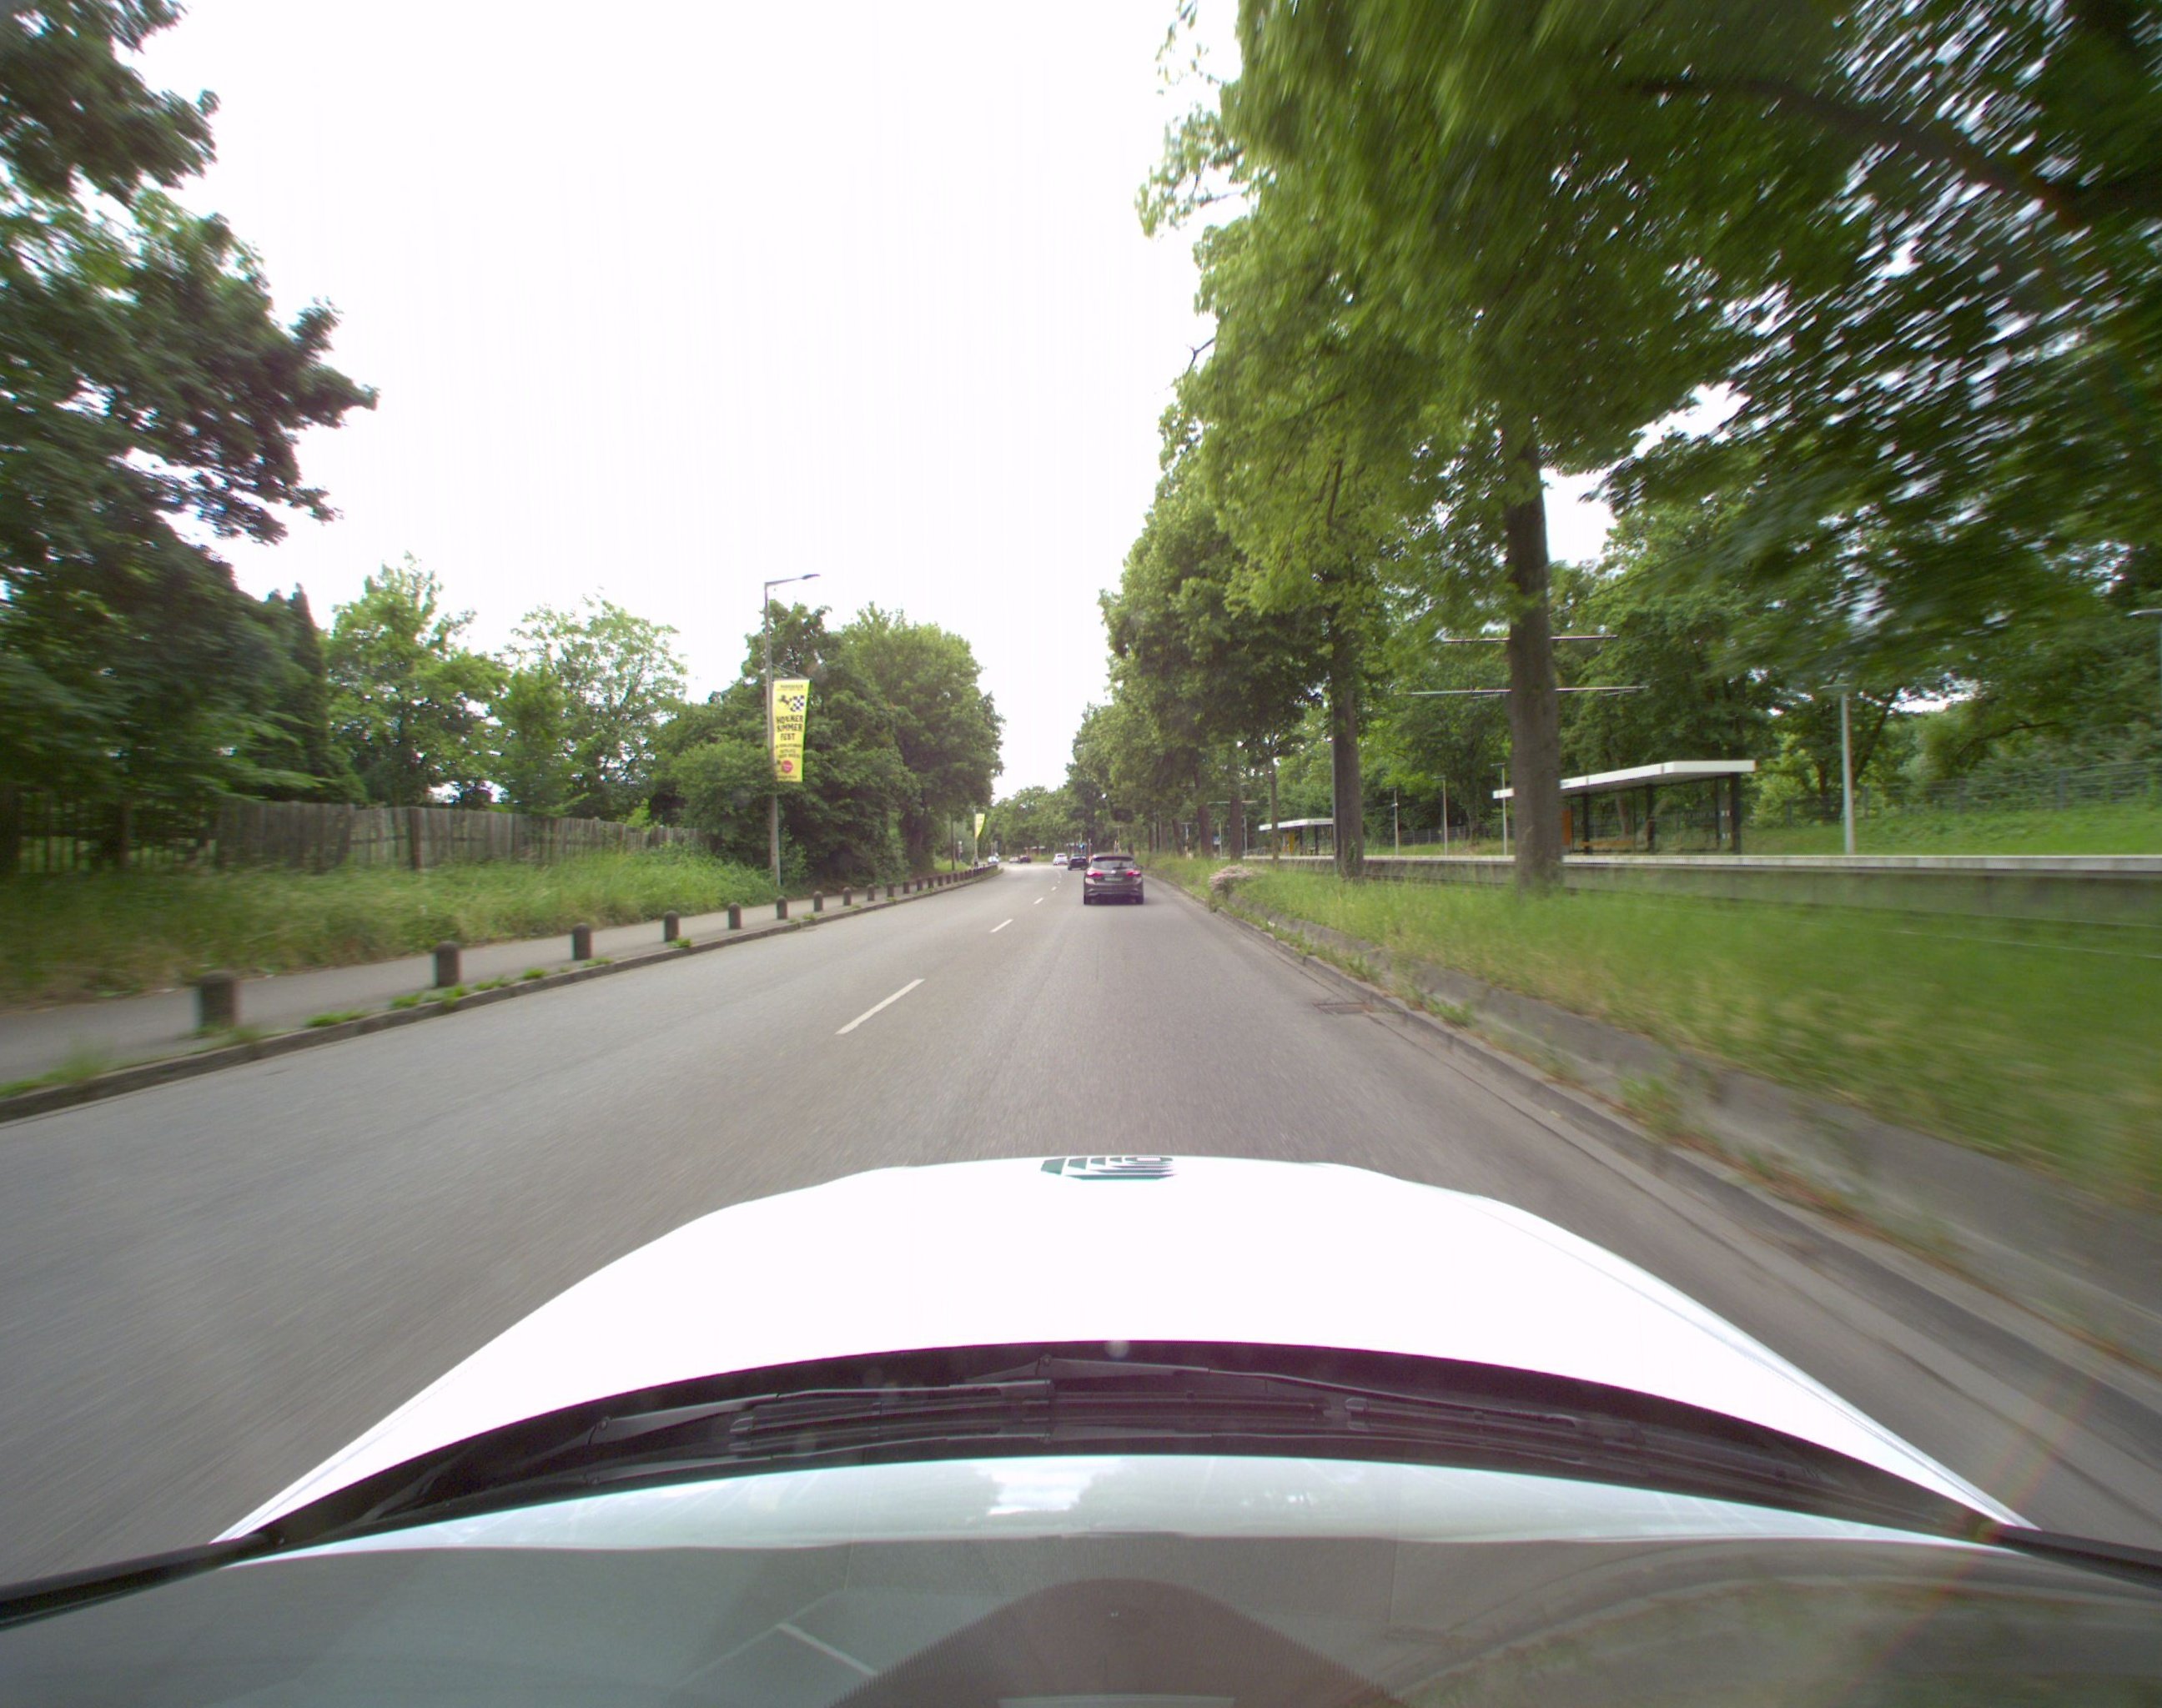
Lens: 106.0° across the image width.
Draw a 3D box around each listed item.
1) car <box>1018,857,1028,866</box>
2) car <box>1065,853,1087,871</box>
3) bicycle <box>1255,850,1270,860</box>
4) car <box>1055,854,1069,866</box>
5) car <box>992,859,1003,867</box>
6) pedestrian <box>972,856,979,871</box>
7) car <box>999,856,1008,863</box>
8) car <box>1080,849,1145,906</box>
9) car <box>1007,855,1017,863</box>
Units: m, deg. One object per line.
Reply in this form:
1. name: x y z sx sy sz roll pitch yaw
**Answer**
1. car: -10.024 1.261 140.914 1.773 1.472 3.993 -1 0 -5
2. car: -0.398 0.701 71.736 1.769 1.472 4.001 0 0 1
3. bicycle: 18.983 0.096 85.098 1.507 0.973 0.449 0 -1 -7
4. car: -2.420 0.794 103.469 1.771 1.472 3.998 0 0 -1
5. car: -15.773 1.645 154.111 1.770 1.439 4.353 -3 0 -5
6. pedestrian: -11.407 1.018 88.063 0.688 1.634 0.837 0 -1 -4
7. car: -17.043 1.224 179.717 1.771 1.472 3.996 0 0 -2
8. car: 0.909 0.661 25.394 1.810 1.508 4.000 -3 1 0
9. car: -13.311 0.912 156.882 1.773 1.472 3.994 -1 0 -4
